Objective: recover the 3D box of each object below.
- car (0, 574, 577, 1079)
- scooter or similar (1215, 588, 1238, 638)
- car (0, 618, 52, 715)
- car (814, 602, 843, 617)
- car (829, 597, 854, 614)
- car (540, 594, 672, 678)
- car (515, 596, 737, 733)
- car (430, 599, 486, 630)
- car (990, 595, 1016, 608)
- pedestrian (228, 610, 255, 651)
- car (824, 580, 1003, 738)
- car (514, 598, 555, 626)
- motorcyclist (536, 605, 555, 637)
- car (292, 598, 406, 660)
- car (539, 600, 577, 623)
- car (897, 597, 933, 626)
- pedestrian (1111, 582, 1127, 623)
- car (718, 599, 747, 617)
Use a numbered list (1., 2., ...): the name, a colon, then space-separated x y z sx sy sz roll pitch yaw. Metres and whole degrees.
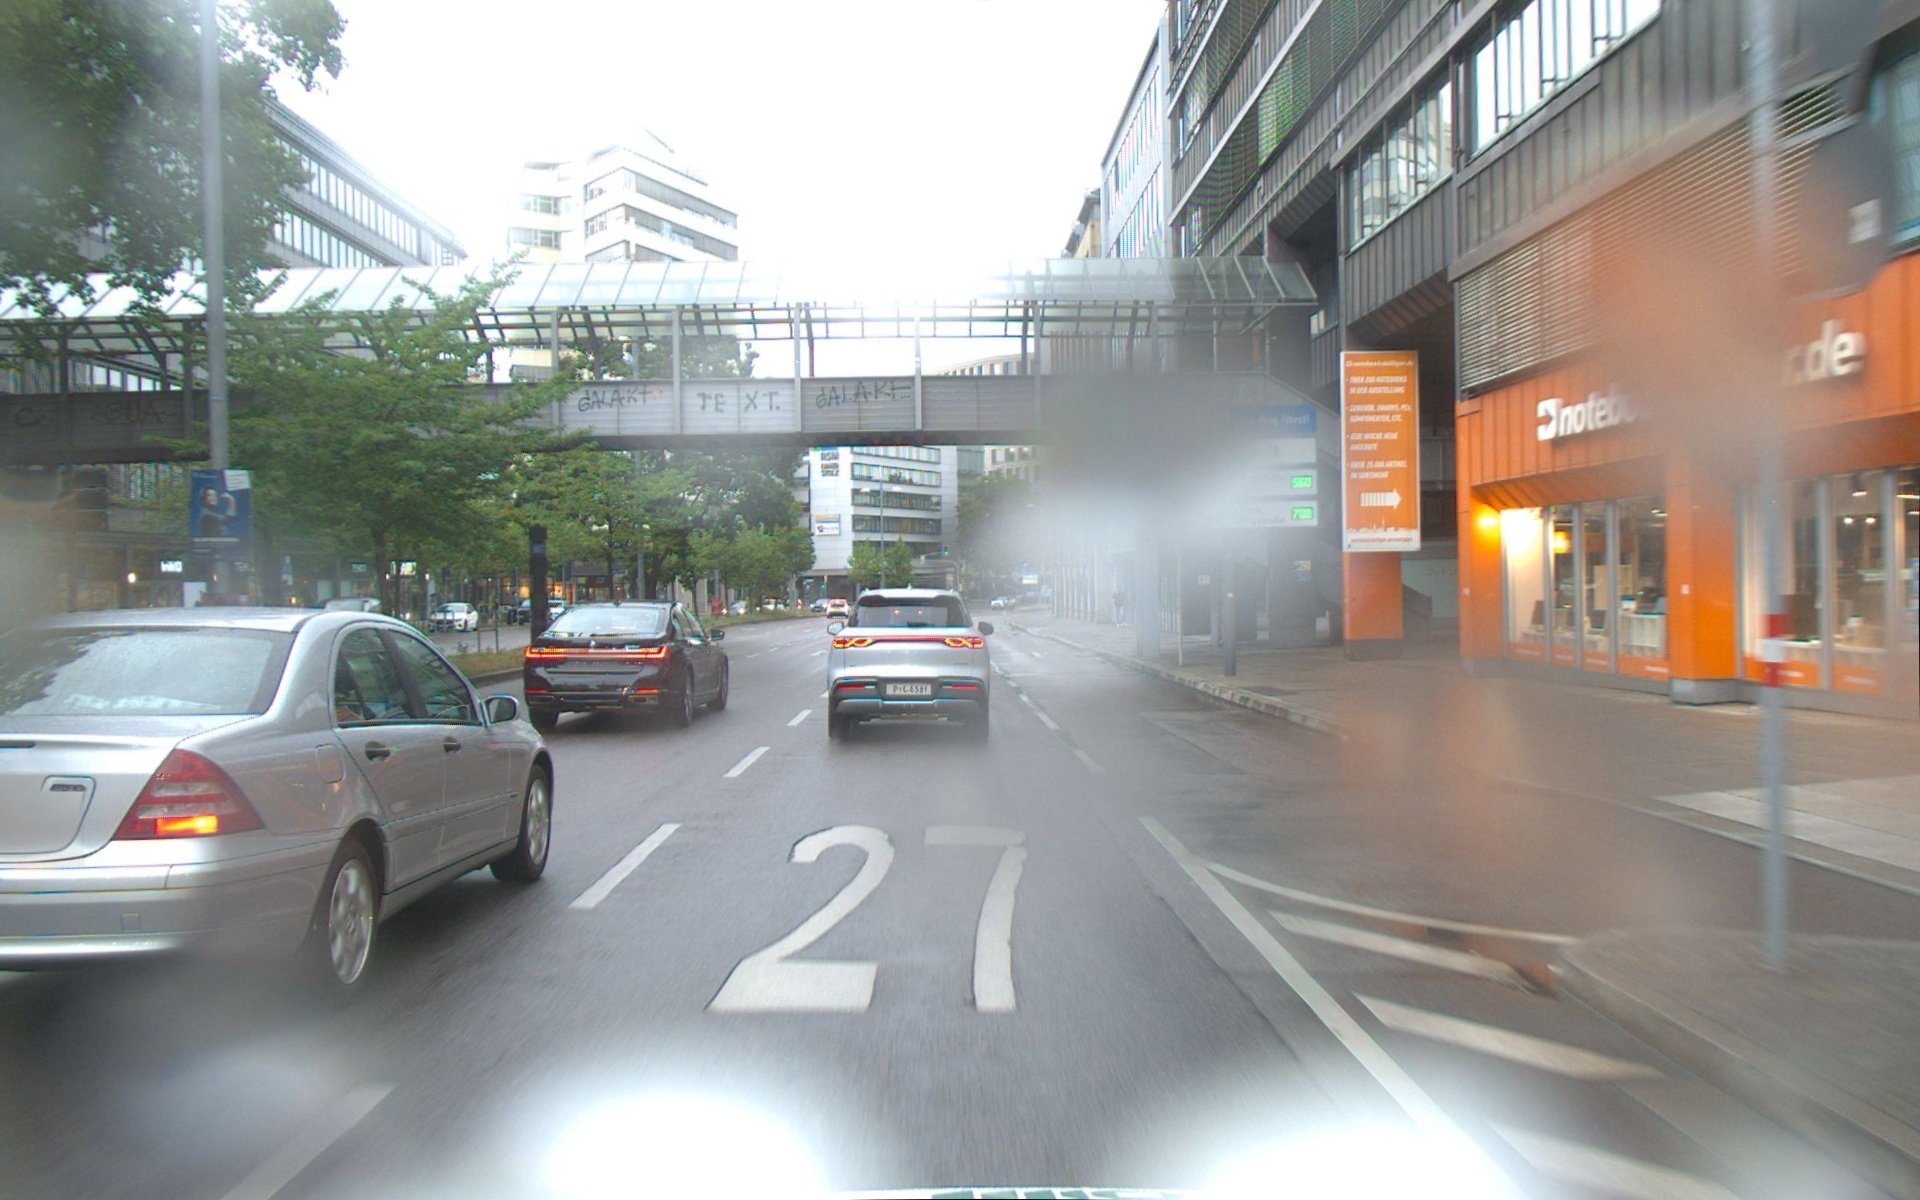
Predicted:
1. car: -2.971 0.704 7.118 1.638 1.505 4.360 0 -1 0
2. scooter or similar: 6.948 0.339 43.192 0.342 1.278 1.394 -1 0 -1
3. car: -15.473 1.062 24.801 1.629 1.489 4.077 -3 0 -4
4. car: -13.612 0.994 171.758 1.589 1.478 4.164 -2 -1 17
5. car: -9.507 0.451 132.777 1.619 1.365 4.000 -1 0 1
6. car: -6.734 0.678 31.864 1.738 1.482 3.999 -1 -1 -1
7. car: -4.047 0.719 20.846 1.834 1.505 4.877 0 0 0
8. car: -25.100 0.733 82.811 1.591 1.458 4.443 -1 -1 -3
9. car: 5.334 0.146 204.896 1.551 1.565 3.993 -1 0 29
10. pedestrian: -31.848 1.344 73.302 0.728 1.745 1.056 -1 0 -2
11. car: -0.528 0.623 19.306 1.862 1.650 3.999 0 0 -1
12. car: -25.619 0.711 99.651 1.591 1.639 4.229 0 0 -3
13. motorcyclist: -19.123 0.976 76.338 0.625 1.443 0.970 -1 -1 -1
14. car: -20.073 0.922 54.586 1.961 1.799 5.182 -4 0 -3
15. car: -25.733 0.721 105.952 1.591 1.486 3.960 0 0 -3
16. car: -2.639 0.658 97.057 1.774 1.606 4.002 -1 0 3
17. pedestrian: 7.086 0.134 73.792 0.622 1.803 0.789 -1 -1 -1
18. car: -17.543 0.654 127.727 1.590 1.334 3.618 -1 -1 2
